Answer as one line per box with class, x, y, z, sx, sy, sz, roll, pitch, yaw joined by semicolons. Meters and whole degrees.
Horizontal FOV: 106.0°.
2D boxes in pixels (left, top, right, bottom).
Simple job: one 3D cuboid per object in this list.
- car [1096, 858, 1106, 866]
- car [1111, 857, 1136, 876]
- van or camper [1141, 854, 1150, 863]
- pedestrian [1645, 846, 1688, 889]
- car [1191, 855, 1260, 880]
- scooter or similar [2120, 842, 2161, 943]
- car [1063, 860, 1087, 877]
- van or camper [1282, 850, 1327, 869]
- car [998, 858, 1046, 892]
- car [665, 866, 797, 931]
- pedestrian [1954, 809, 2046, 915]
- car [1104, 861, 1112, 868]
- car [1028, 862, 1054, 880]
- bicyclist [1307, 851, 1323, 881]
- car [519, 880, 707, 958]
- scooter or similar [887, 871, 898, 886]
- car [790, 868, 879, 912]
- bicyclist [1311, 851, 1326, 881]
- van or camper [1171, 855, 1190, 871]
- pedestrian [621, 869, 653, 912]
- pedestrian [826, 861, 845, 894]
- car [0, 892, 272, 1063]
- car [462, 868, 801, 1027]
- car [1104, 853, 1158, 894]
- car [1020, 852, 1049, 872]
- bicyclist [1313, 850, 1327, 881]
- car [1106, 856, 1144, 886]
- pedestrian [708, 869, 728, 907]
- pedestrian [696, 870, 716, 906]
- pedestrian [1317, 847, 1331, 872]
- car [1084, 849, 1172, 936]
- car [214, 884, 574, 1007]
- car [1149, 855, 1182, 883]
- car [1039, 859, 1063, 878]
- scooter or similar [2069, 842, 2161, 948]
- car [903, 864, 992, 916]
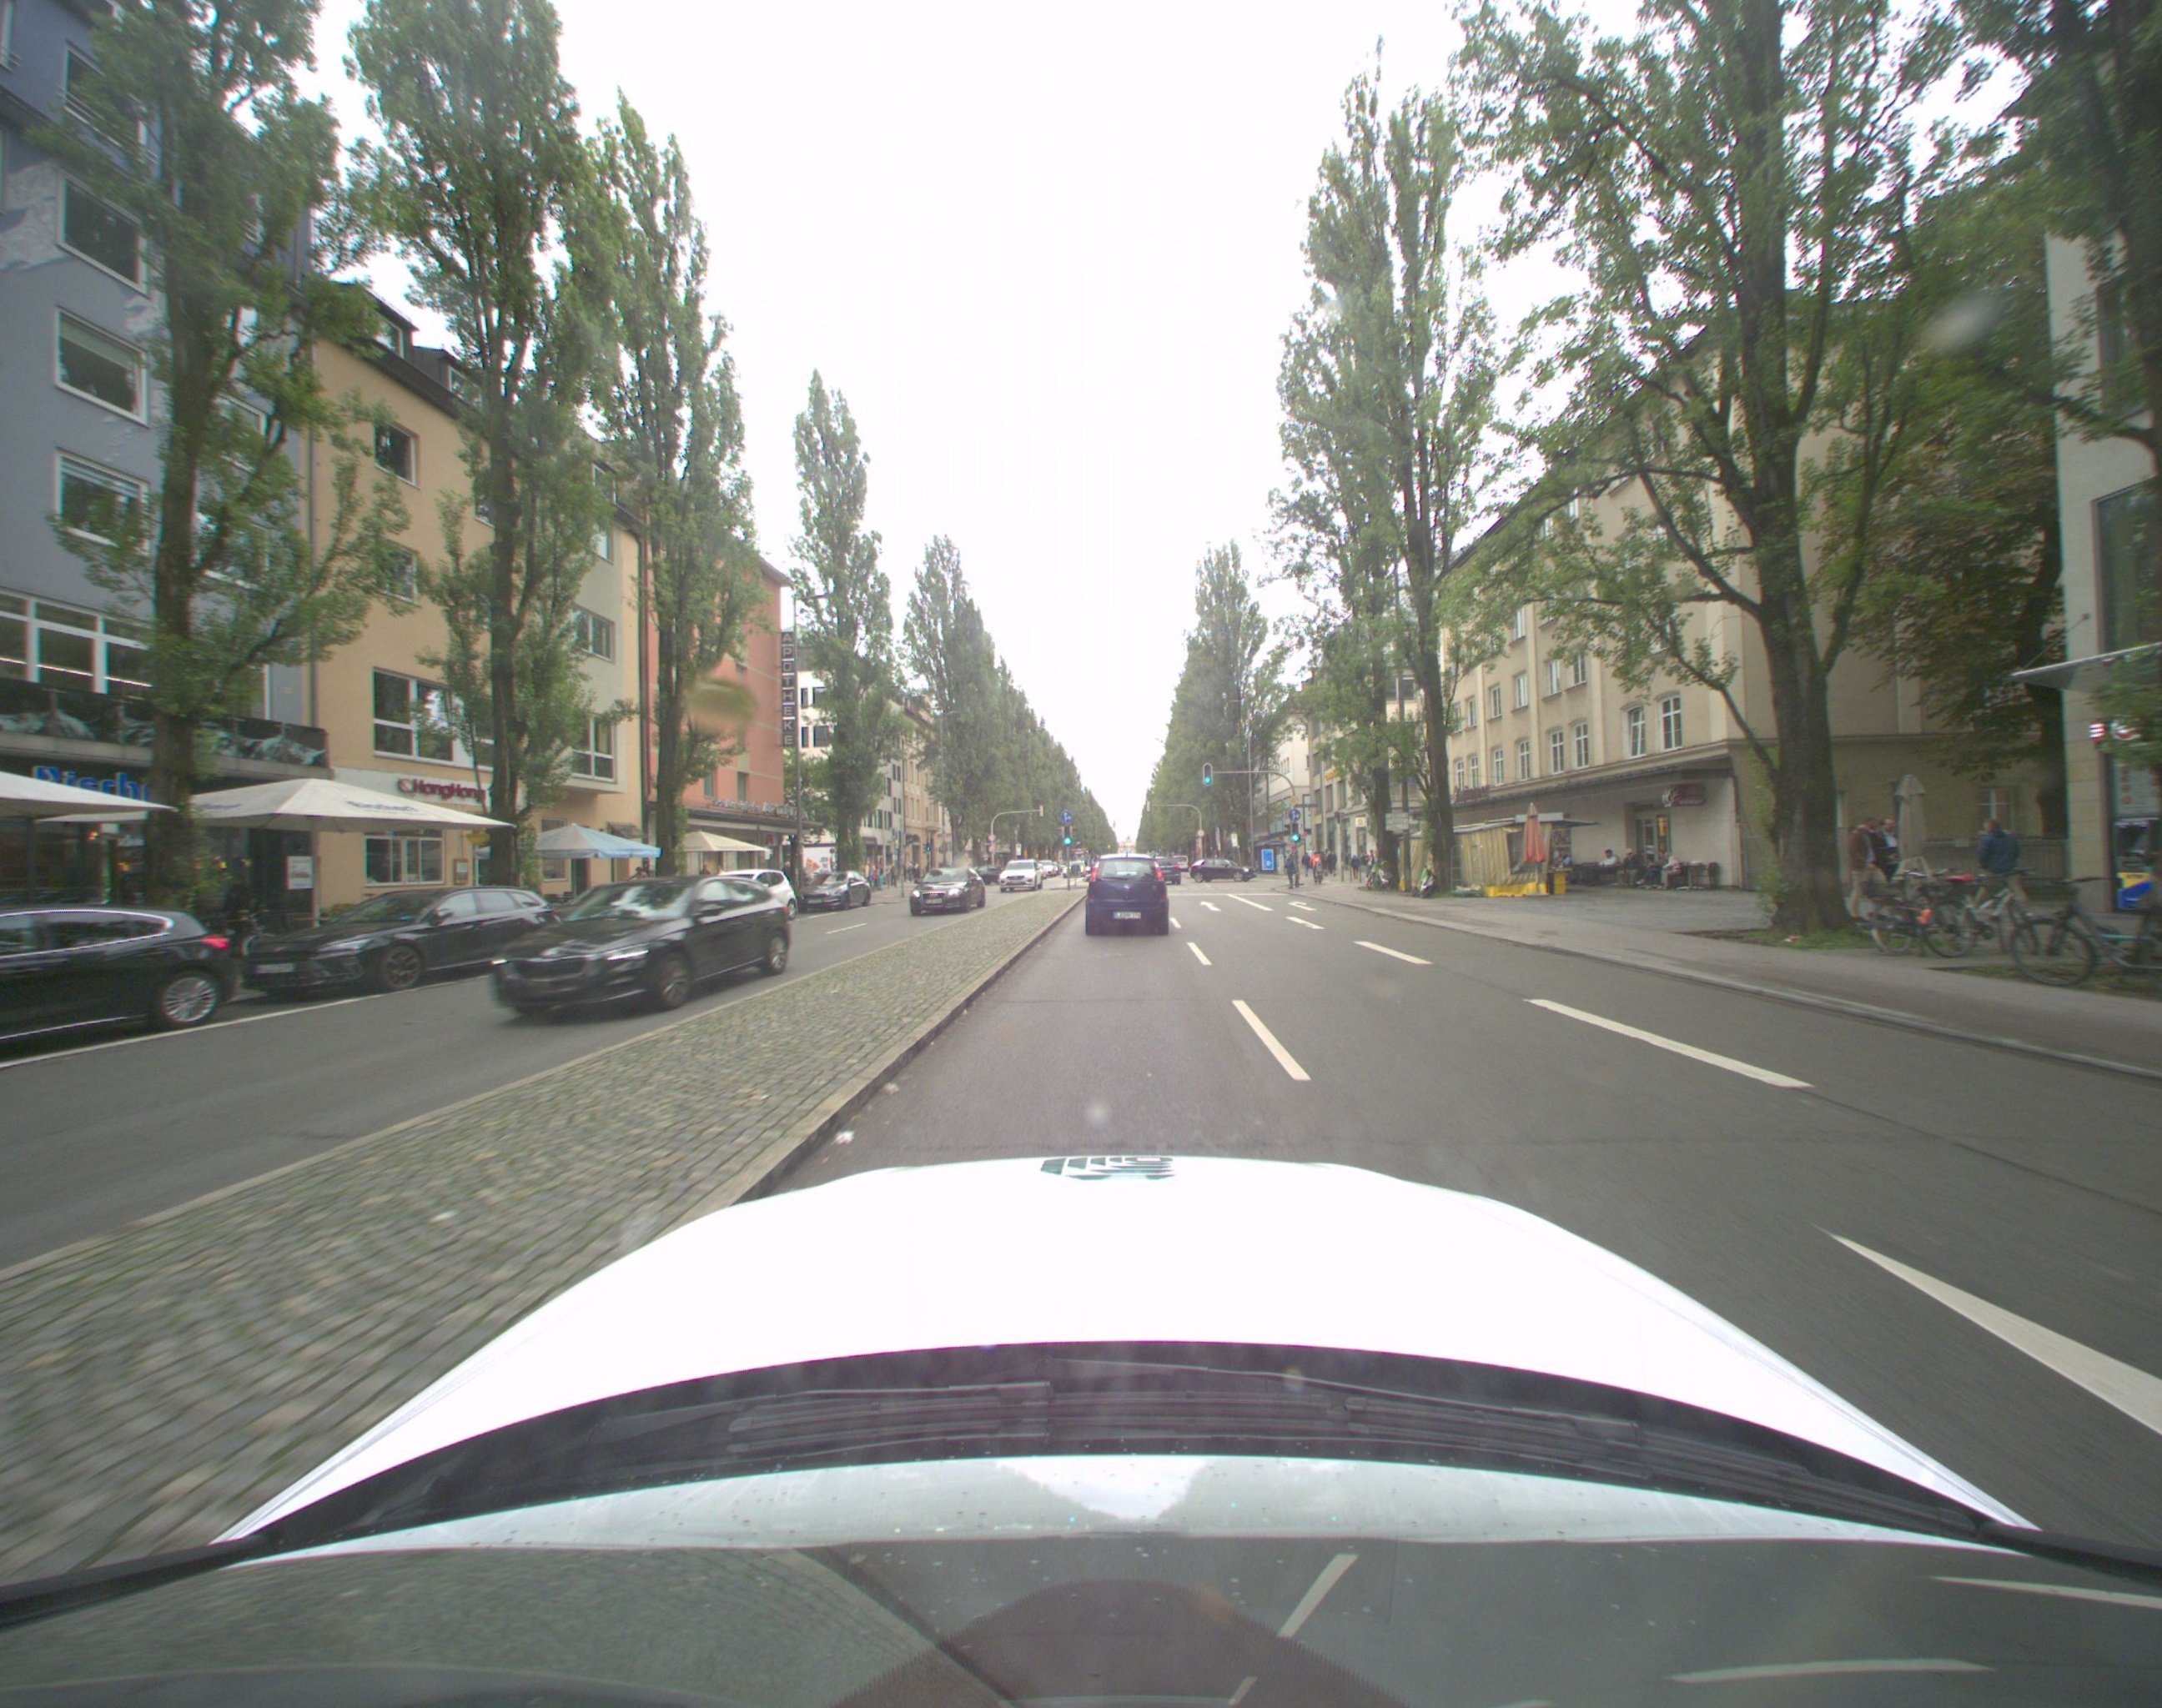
car;4.231;1.642;173.958;1.905;1.681;4.590;-2;0;3
car;3.484;1.021;67.020;1.986;1.497;4.002;-2;0;2
van or camper;18.405;1.355;232.508;2.466;2.581;5.850;-2;-1;4
pedestrian;17.823;0.400;24.814;0.772;1.264;0.700;-1;-1;3
car;9.179;0.885;51.746;3.948;1.461;1.770;-2;-1;30
scooter or similar;13.793;0.480;10.166;0.329;1.273;1.037;-1;-1;3
car;-0.512;1.311;75.313;1.836;1.502;4.990;-2;0;3
van or camper;22.628;0.563;82.557;4.082;1.867;1.902;0;-1;7
car;-3.083;1.079;43.353;1.835;1.636;4.580;-3;0;4
car;-9.767;1.188;23.100;1.696;1.583;4.099;-3;-1;3
pedestrian;16.319;0.138;14.485;0.739;1.814;0.758;-1;-1;6
car;6.880;2.657;208.669;1.927;1.623;4.340;-3;-1;3
car;-3.474;1.465;71.713;1.815;1.408;4.636;-2;-1;3
bicyclist;12.540;0.633;43.703;0.619;1.588;0.753;-2;-1;2
car;-10.079;1.326;17.942;1.487;1.381;4.190;-3;-1;3
scooter or similar;-14.651;1.903;63.329;0.811;1.093;0.274;0;-1;-1
car;-9.211;1.309;30.864;1.696;1.438;4.594;-3;-1;3
bicyclist;12.502;0.622;42.923;0.619;1.588;0.482;-2;-1;2
van or camper;11.669;1.045;95.905;1.861;1.883;4.907;-1;-1;3
pedestrian;-17.663;1.438;32.406;0.777;1.668;0.803;-2;-1;2
pedestrian;-13.486;1.274;44.737;0.721;1.771;0.779;-2;-1;4
car;-10.658;1.205;7.590;1.670;1.466;4.374;-3;-1;3
car;-5.176;0.961;10.119;1.750;1.465;4.052;-3;-1;2
car;1.950;0.749;32.522;1.986;1.497;4.002;-2;0;2
car;-3.562;0.611;62.355;1.729;1.437;3.827;-2;-1;3
bicyclist;12.489;0.618;42.575;0.619;1.588;0.392;-2;-1;2
car;2.416;0.909;45.043;1.986;1.497;4.002;-2;0;2
pedestrian;-16.722;1.553;37.544;0.552;1.718;0.692;-2;-1;2
pedestrian;-17.393;1.570;37.795;0.552;1.638;0.692;-2;-1;2
pedestrian;17.846;0.401;59.909;0.746;1.758;0.860;-2;-3;4
car;0.996;0.751;17.677;1.674;1.641;4.002;-1;0;2
car;-10.368;1.280;12.854;1.696;1.412;4.437;-3;-1;3
car;5.028;0.862;48.678;1.699;1.574;4.003;-2;-1;3
car;-2.923;1.416;81.154;1.829;1.716;4.640;-2;-1;4
scooter or similar;13.174;0.497;10.245;0.246;1.273;1.037;-1;-1;4
car;-4.115;1.083;25.805;1.828;1.361;4.180;-4;-1;3
